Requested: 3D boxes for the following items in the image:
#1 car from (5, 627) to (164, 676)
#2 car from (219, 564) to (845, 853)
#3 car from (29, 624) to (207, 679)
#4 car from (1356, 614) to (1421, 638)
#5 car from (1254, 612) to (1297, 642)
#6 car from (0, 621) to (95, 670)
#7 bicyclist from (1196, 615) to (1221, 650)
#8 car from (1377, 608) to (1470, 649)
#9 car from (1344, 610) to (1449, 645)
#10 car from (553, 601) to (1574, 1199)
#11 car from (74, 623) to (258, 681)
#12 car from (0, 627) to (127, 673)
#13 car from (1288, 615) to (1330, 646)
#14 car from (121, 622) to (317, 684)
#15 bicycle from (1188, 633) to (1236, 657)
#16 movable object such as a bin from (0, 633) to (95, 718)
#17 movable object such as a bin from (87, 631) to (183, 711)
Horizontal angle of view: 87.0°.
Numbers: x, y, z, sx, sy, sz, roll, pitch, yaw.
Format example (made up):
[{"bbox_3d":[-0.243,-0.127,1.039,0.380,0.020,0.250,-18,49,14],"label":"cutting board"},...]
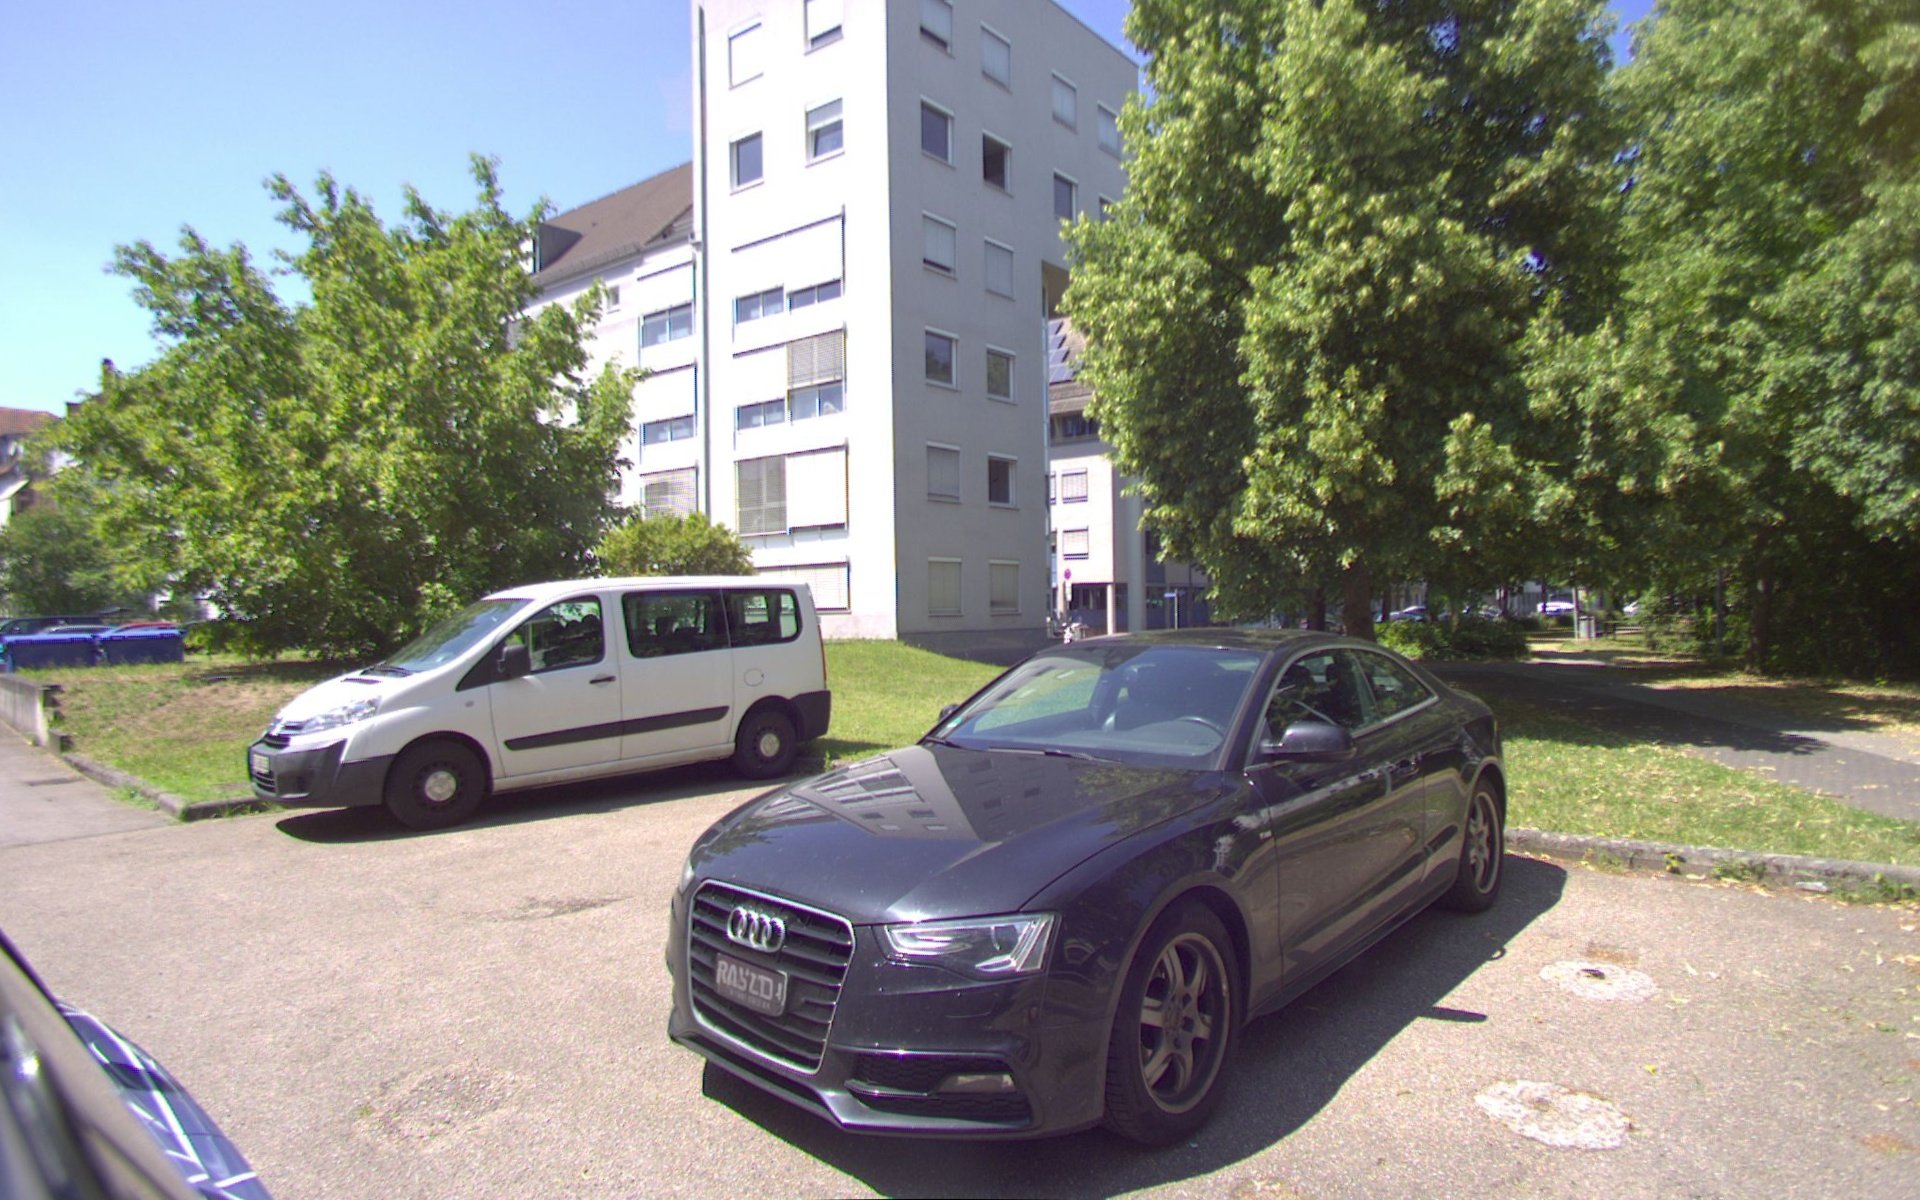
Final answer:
[{"bbox_3d":[-31.958,1.828,37.047,1.610,1.580,4.173,-1,-1,36],"label":"car"},{"bbox_3d":[-3.542,0.718,9.117,2.068,1.897,4.794,-1,-1,43],"label":"car"},{"bbox_3d":[-27.043,1.594,32.626,1.610,1.580,4.173,-1,-1,36],"label":"car"},{"bbox_3d":[29.581,1.781,69.873,3.891,1.643,1.514,-1,-1,40],"label":"car"},{"bbox_3d":[18.470,1.559,59.135,1.799,1.615,3.860,-1,0,26],"label":"car"},{"bbox_3d":[-37.233,1.789,40.115,2.006,1.837,4.173,-1,-1,36],"label":"car"},{"bbox_3d":[7.645,0.997,31.131,0.518,1.053,0.515,-5,-4,43],"label":"bicyclist"},{"bbox_3d":[23.858,1.444,52.159,3.996,2.029,1.974,-1,-1,40],"label":"car"},{"bbox_3d":[21.290,1.301,49.456,4.337,1.622,1.908,-1,-1,40],"label":"car"},{"bbox_3d":[0.875,0.755,4.290,2.024,1.390,4.380,-4,-3,43],"label":"car"},{"bbox_3d":[-24.150,1.522,30.920,1.610,1.580,4.173,-1,-1,36],"label":"car"},{"bbox_3d":[-34.638,1.883,38.623,1.610,1.580,4.173,-1,-1,36],"label":"car"},{"bbox_3d":[19.734,1.694,57.165,1.799,1.615,3.860,-1,0,26],"label":"car"},{"bbox_3d":[-21.620,1.490,29.708,1.610,1.580,4.392,-1,-1,36],"label":"car"},{"bbox_3d":[7.788,1.392,31.262,0.734,0.646,1.594,-5,-3,42],"label":"bicycle"},{"bbox_3d":[-16.289,1.304,17.993,1.095,1.399,1.255,-1,-1,41],"label":"movable object such as a bin"},{"bbox_3d":[-15.466,1.303,18.976,1.095,1.399,1.255,-1,-1,41],"label":"movable object such as a bin"}]
